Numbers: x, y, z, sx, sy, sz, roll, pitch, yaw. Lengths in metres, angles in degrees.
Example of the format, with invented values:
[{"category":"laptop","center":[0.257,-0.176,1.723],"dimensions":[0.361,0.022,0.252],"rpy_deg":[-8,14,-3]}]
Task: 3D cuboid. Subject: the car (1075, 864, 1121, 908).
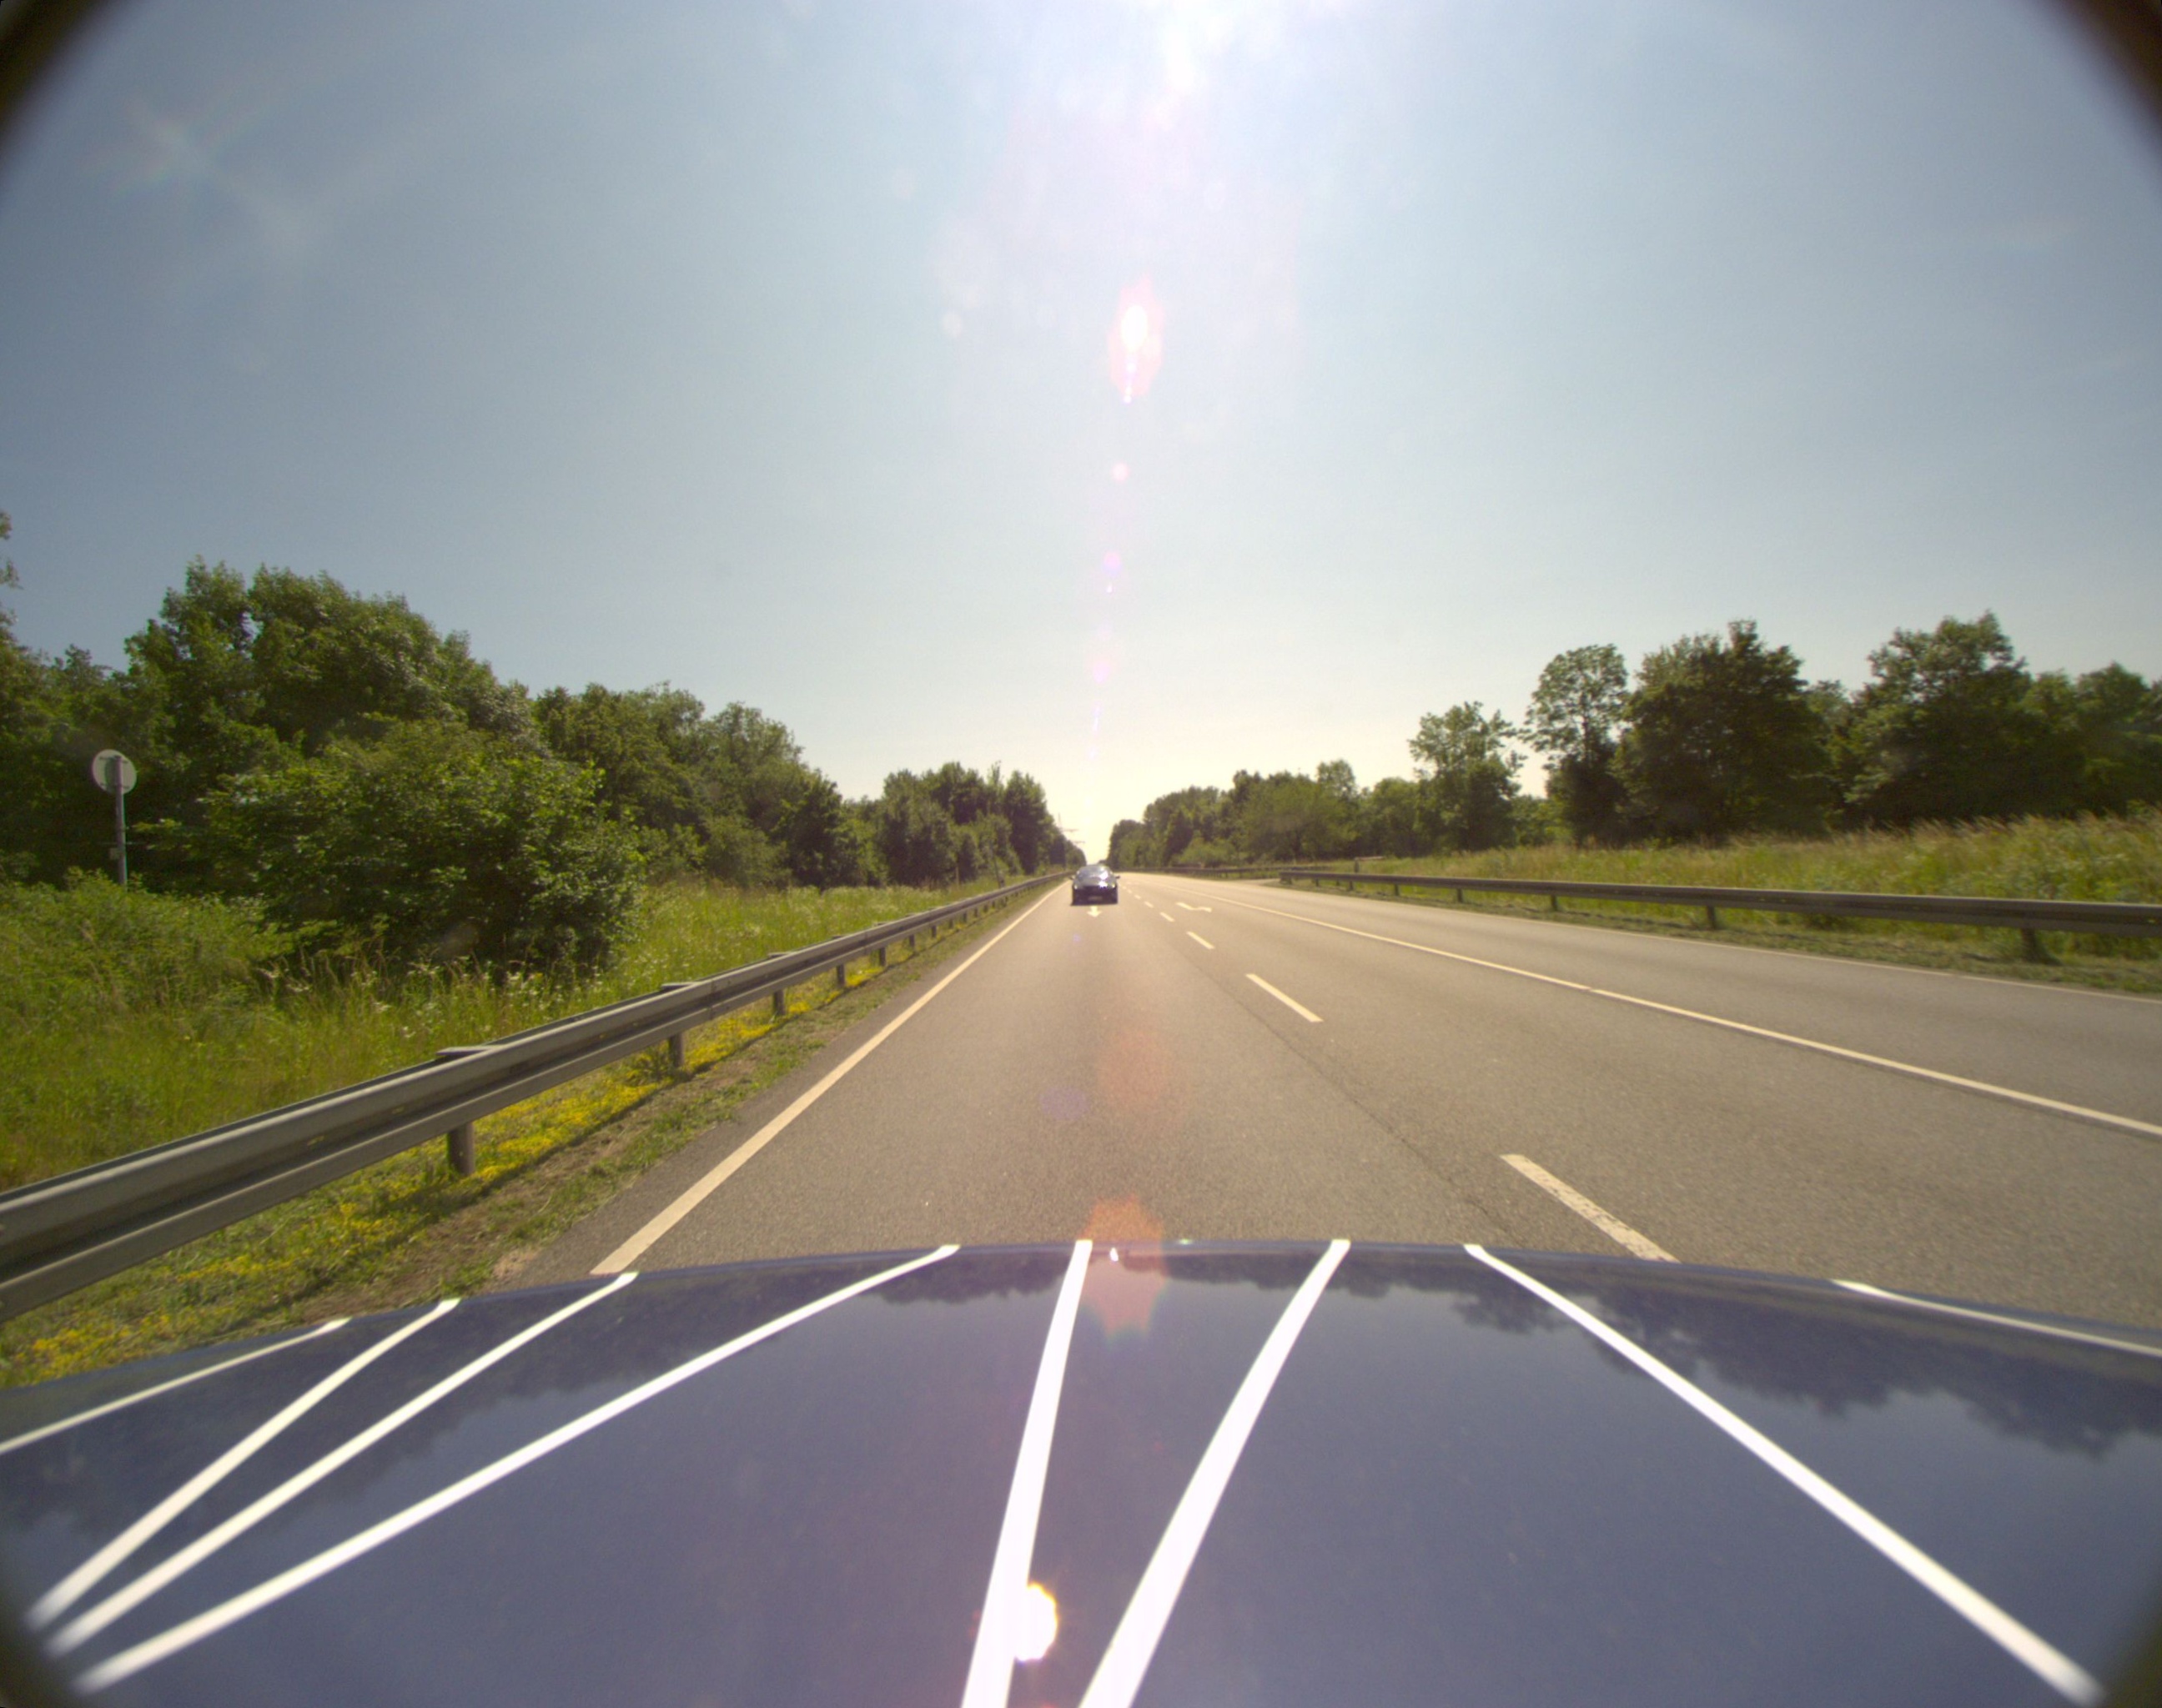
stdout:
[{"category":"car","center":[0.599,1.101,27.375],"dimensions":[1.529,1.387,3.443],"rpy_deg":[-1,0,1]}]
